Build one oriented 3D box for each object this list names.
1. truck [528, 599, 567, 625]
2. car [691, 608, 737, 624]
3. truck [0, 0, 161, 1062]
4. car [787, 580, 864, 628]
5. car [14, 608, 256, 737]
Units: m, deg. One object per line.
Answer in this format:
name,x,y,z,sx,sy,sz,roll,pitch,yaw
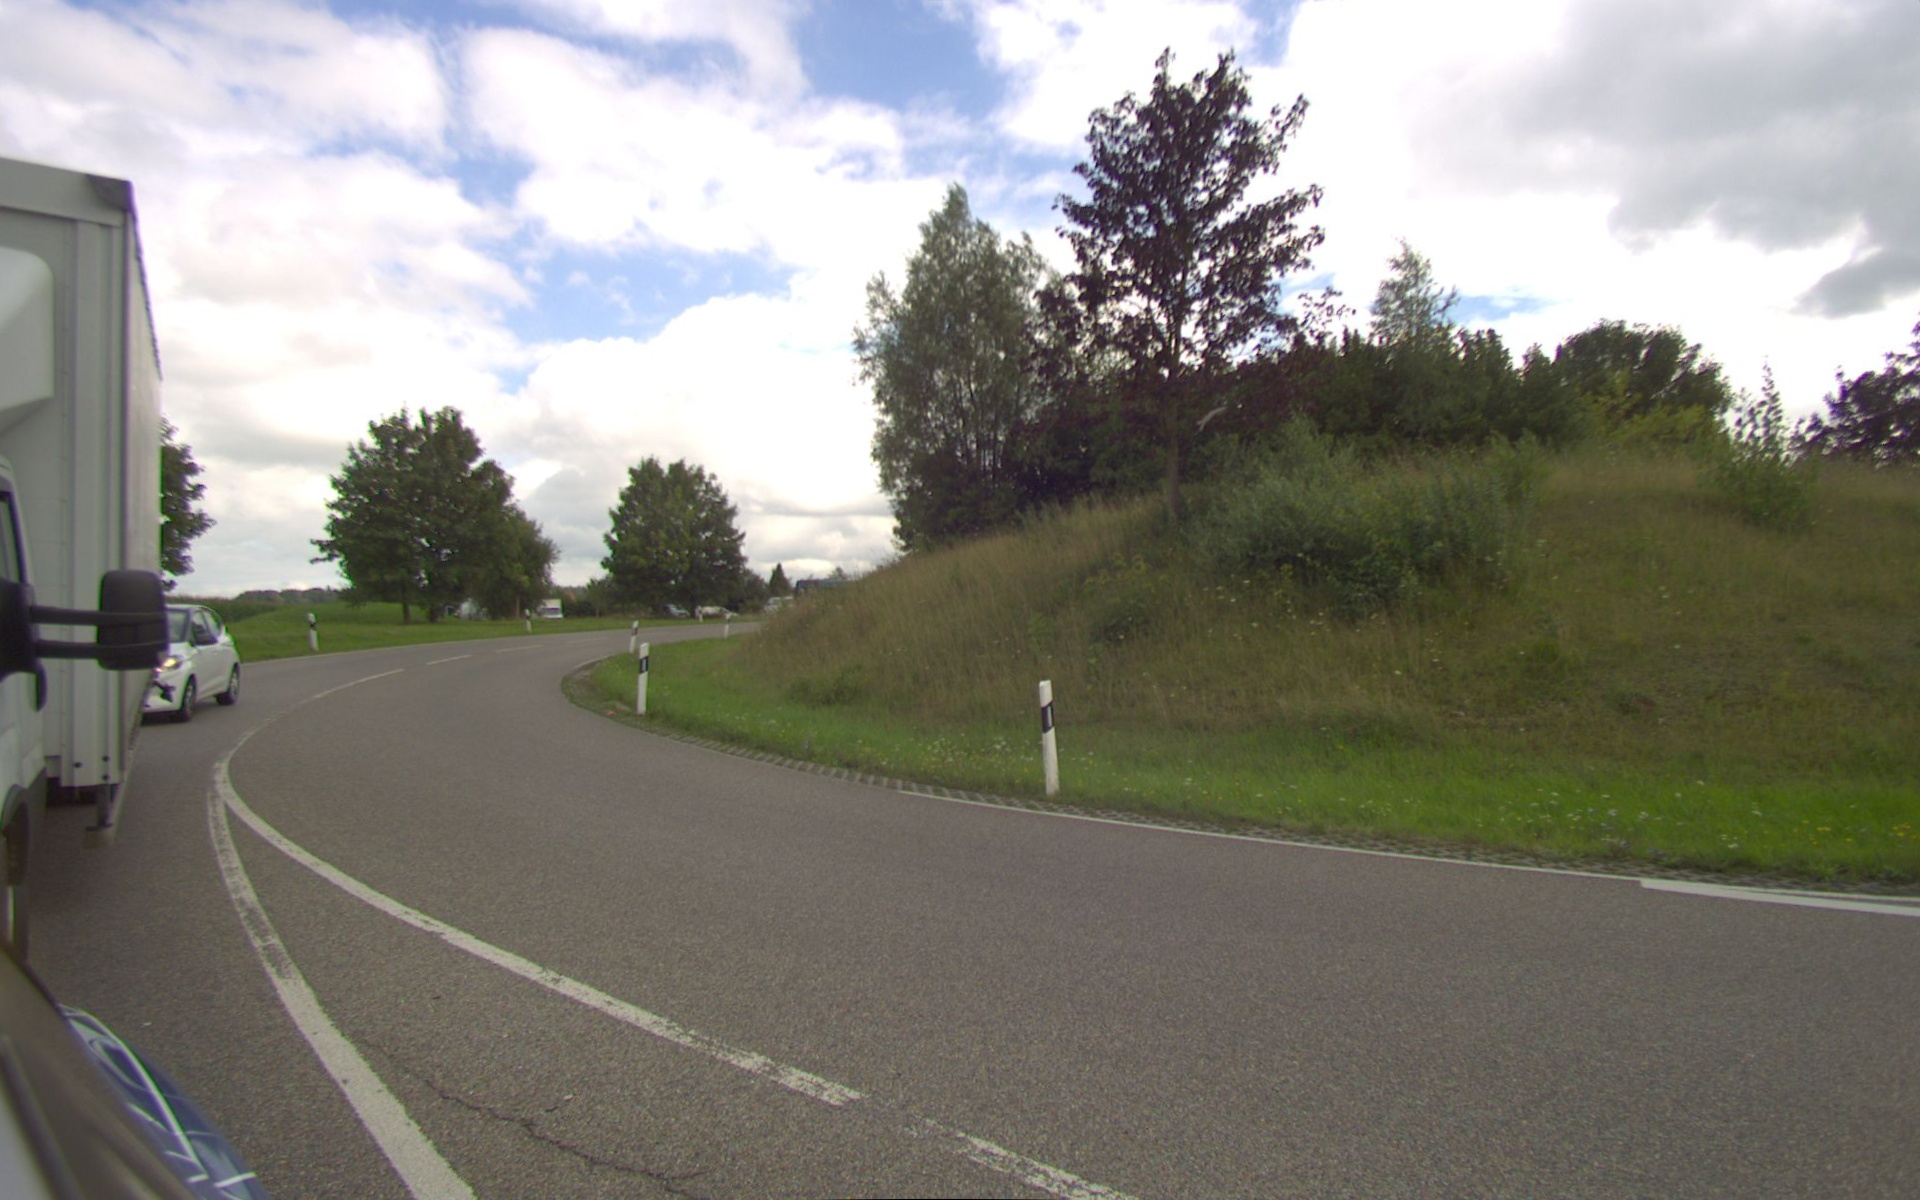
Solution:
truck,-40.826,1.214,99.981,2.254,2.439,6.398,-1,-1,-34
car,-25.627,1.671,105.369,4.328,1.597,2.007,-1,-1,-23
truck,-6.303,-0.497,5.677,2.793,3.792,8.817,1,-2,-38
car,-7.698,0.295,58.622,1.989,2.650,5.078,0,-1,25
car,-11.200,0.897,14.058,1.721,1.477,4.013,-1,-1,-26
